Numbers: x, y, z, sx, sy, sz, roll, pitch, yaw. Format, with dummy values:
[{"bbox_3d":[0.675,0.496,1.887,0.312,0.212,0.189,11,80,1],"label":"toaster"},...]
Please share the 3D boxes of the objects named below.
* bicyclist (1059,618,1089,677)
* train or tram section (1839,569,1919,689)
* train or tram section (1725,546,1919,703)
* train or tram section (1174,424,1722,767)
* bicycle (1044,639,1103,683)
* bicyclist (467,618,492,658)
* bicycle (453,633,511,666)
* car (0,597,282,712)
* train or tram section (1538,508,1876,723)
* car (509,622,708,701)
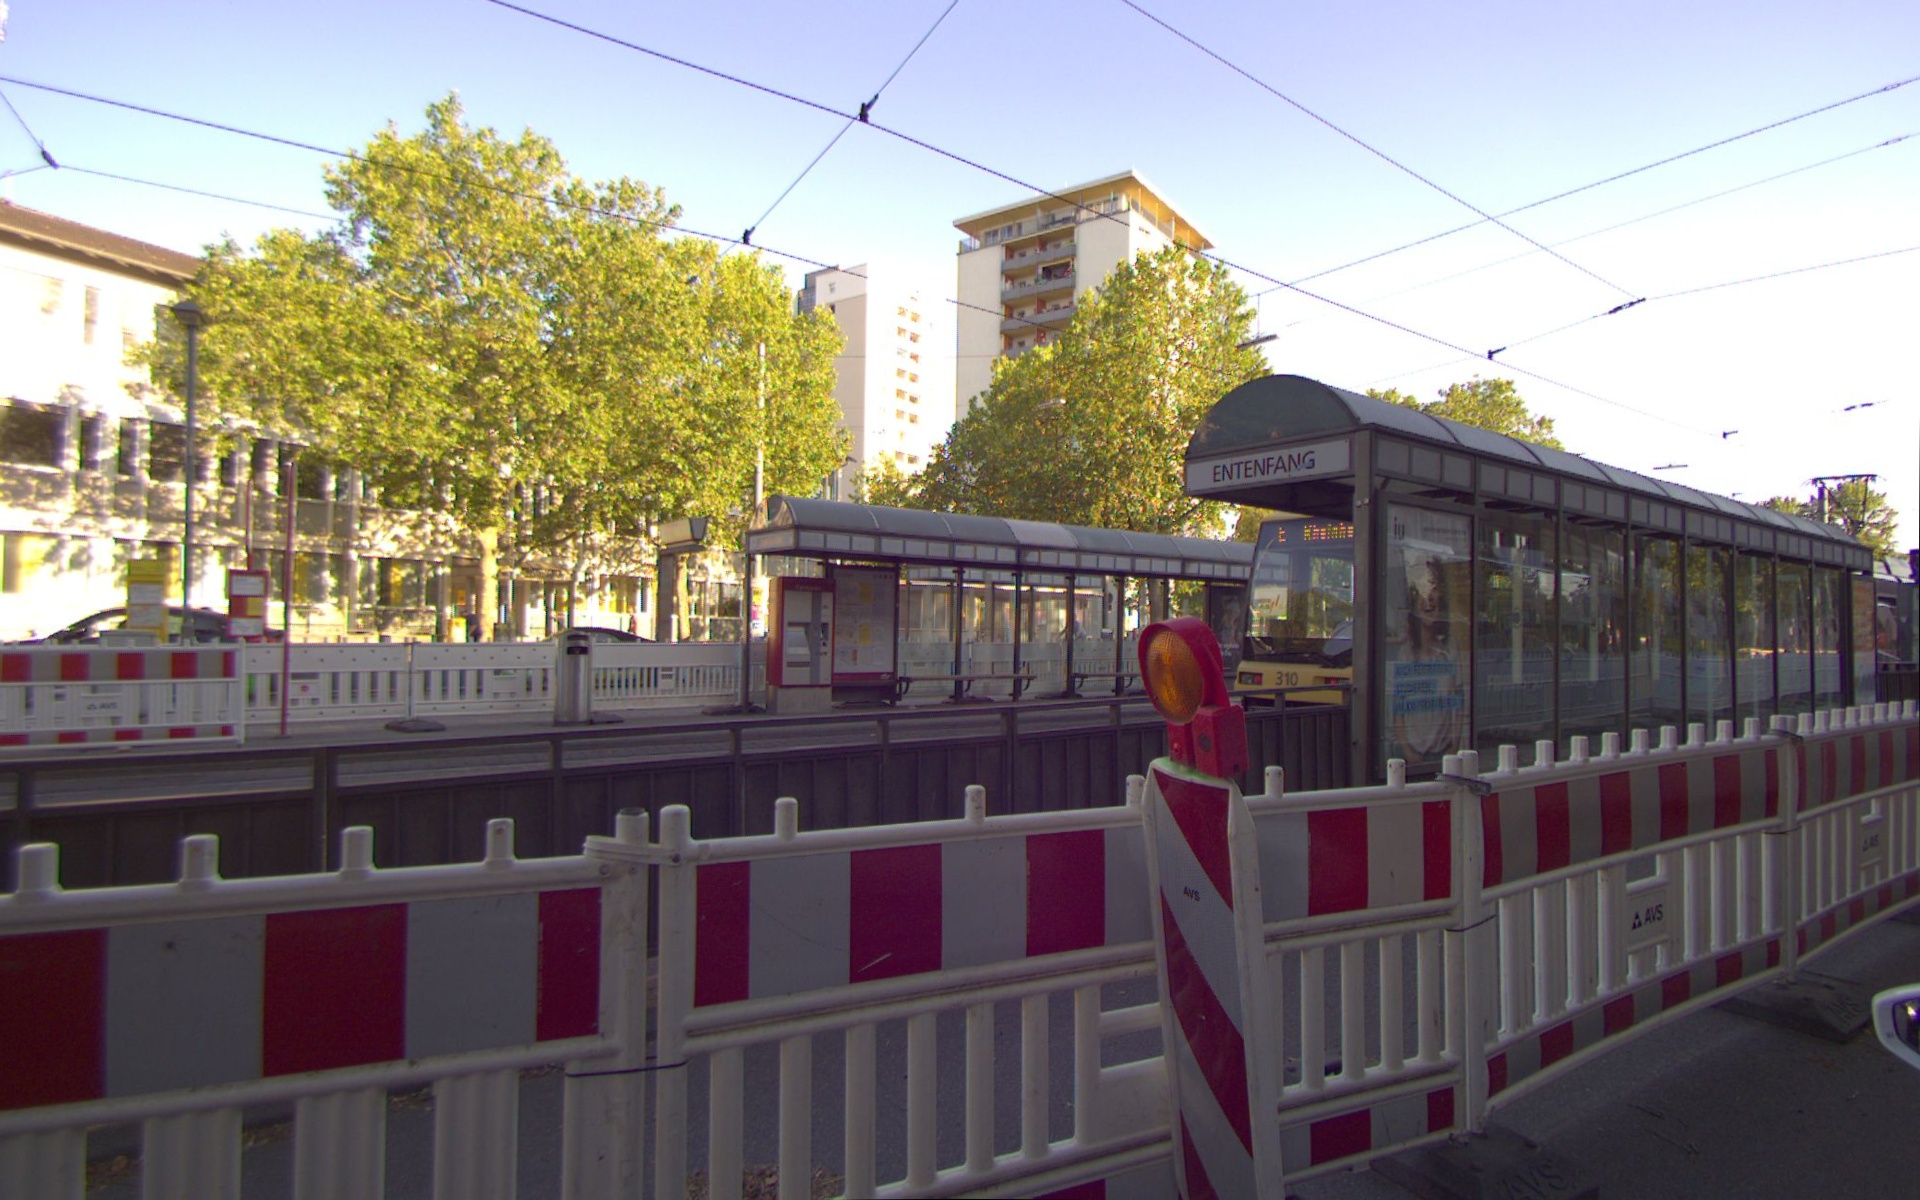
[{"bbox_3d":[3.220,1.341,28.406,0.619,1.653,0.554,2,-2,-37],"label":"bicyclist"},{"bbox_3d":[32.153,1.004,32.961,10.238,3.533,2.797,2,-1,-36],"label":"train or tram section"},{"bbox_3d":[23.946,0.706,26.917,10.242,3.533,2.815,2,-1,-37],"label":"train or tram section"},{"bbox_3d":[7.618,0.104,14.559,10.242,3.533,2.815,2,-1,-37],"label":"train or tram section"},{"bbox_3d":[3.210,1.714,28.397,1.753,1.202,0.554,2,-2,-37],"label":"bicycle"},{"bbox_3d":[-13.674,1.083,28.592,0.451,1.137,0.504,0,-2,43],"label":"bicyclist"},{"bbox_3d":[-13.611,1.404,28.640,0.451,0.925,1.424,0,-2,42],"label":"bicycle"},{"bbox_3d":[-13.937,0.849,16.510,4.544,1.689,1.881,2,0,-37],"label":"car"},{"bbox_3d":[15.746,0.406,20.721,10.243,3.533,2.850,2,-1,-37],"label":"train or tram section"},{"bbox_3d":[-7.700,1.311,22.164,3.807,1.597,1.677,2,-2,-38],"label":"car"}]
